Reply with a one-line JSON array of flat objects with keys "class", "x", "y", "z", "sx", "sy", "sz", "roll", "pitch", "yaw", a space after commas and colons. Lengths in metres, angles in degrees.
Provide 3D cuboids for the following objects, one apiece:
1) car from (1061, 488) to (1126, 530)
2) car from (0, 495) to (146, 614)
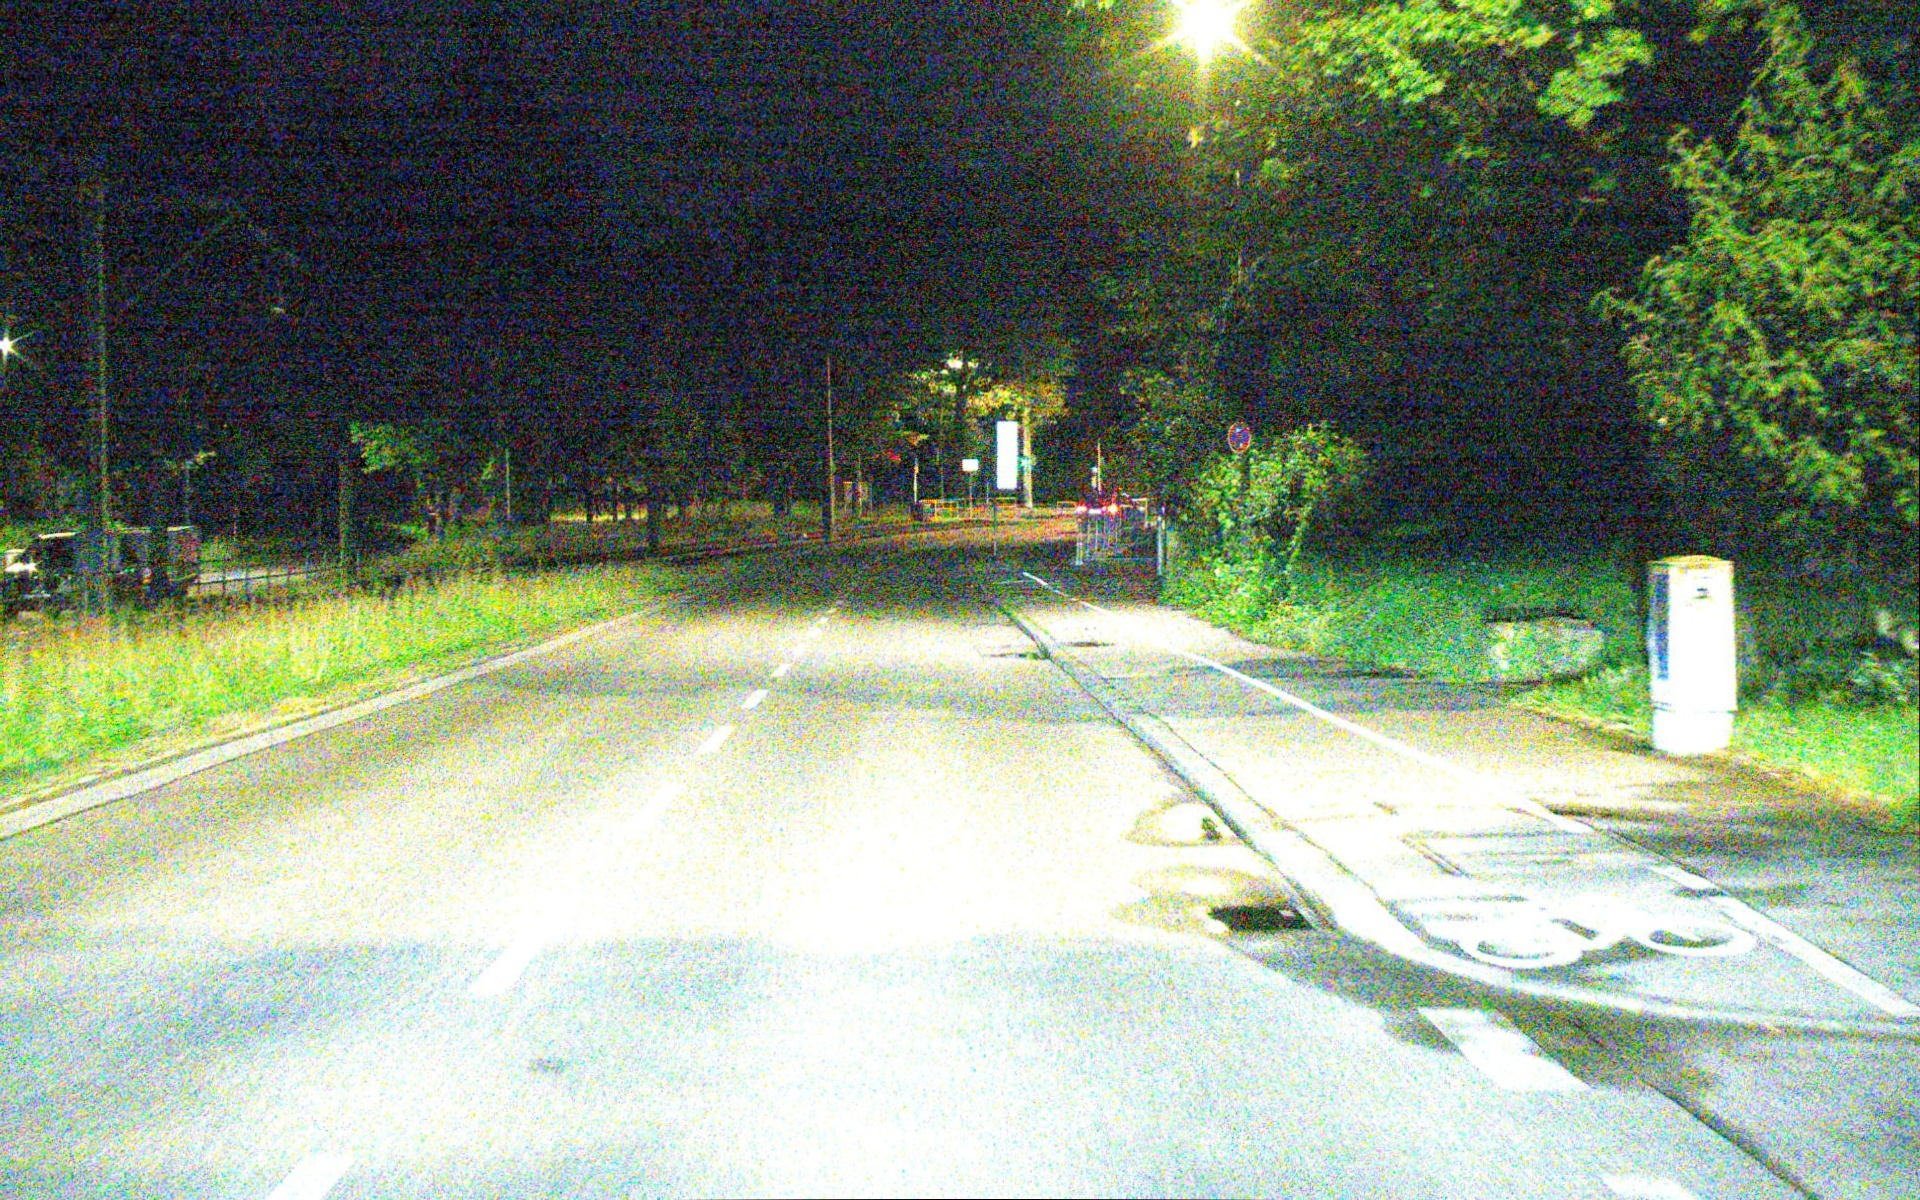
[{"class": "car", "x": 5.436, "y": -3.710, "z": 139.815, "sx": 2.162, "sy": 1.577, "sz": 4.012, "roll": -3, "pitch": 2, "yaw": 9}, {"class": "car", "x": -16.809, "y": -0.876, "z": 64.425, "sx": 2.091, "sy": 2.006, "sz": 4.001, "roll": -5, "pitch": 2, "yaw": -2}]
